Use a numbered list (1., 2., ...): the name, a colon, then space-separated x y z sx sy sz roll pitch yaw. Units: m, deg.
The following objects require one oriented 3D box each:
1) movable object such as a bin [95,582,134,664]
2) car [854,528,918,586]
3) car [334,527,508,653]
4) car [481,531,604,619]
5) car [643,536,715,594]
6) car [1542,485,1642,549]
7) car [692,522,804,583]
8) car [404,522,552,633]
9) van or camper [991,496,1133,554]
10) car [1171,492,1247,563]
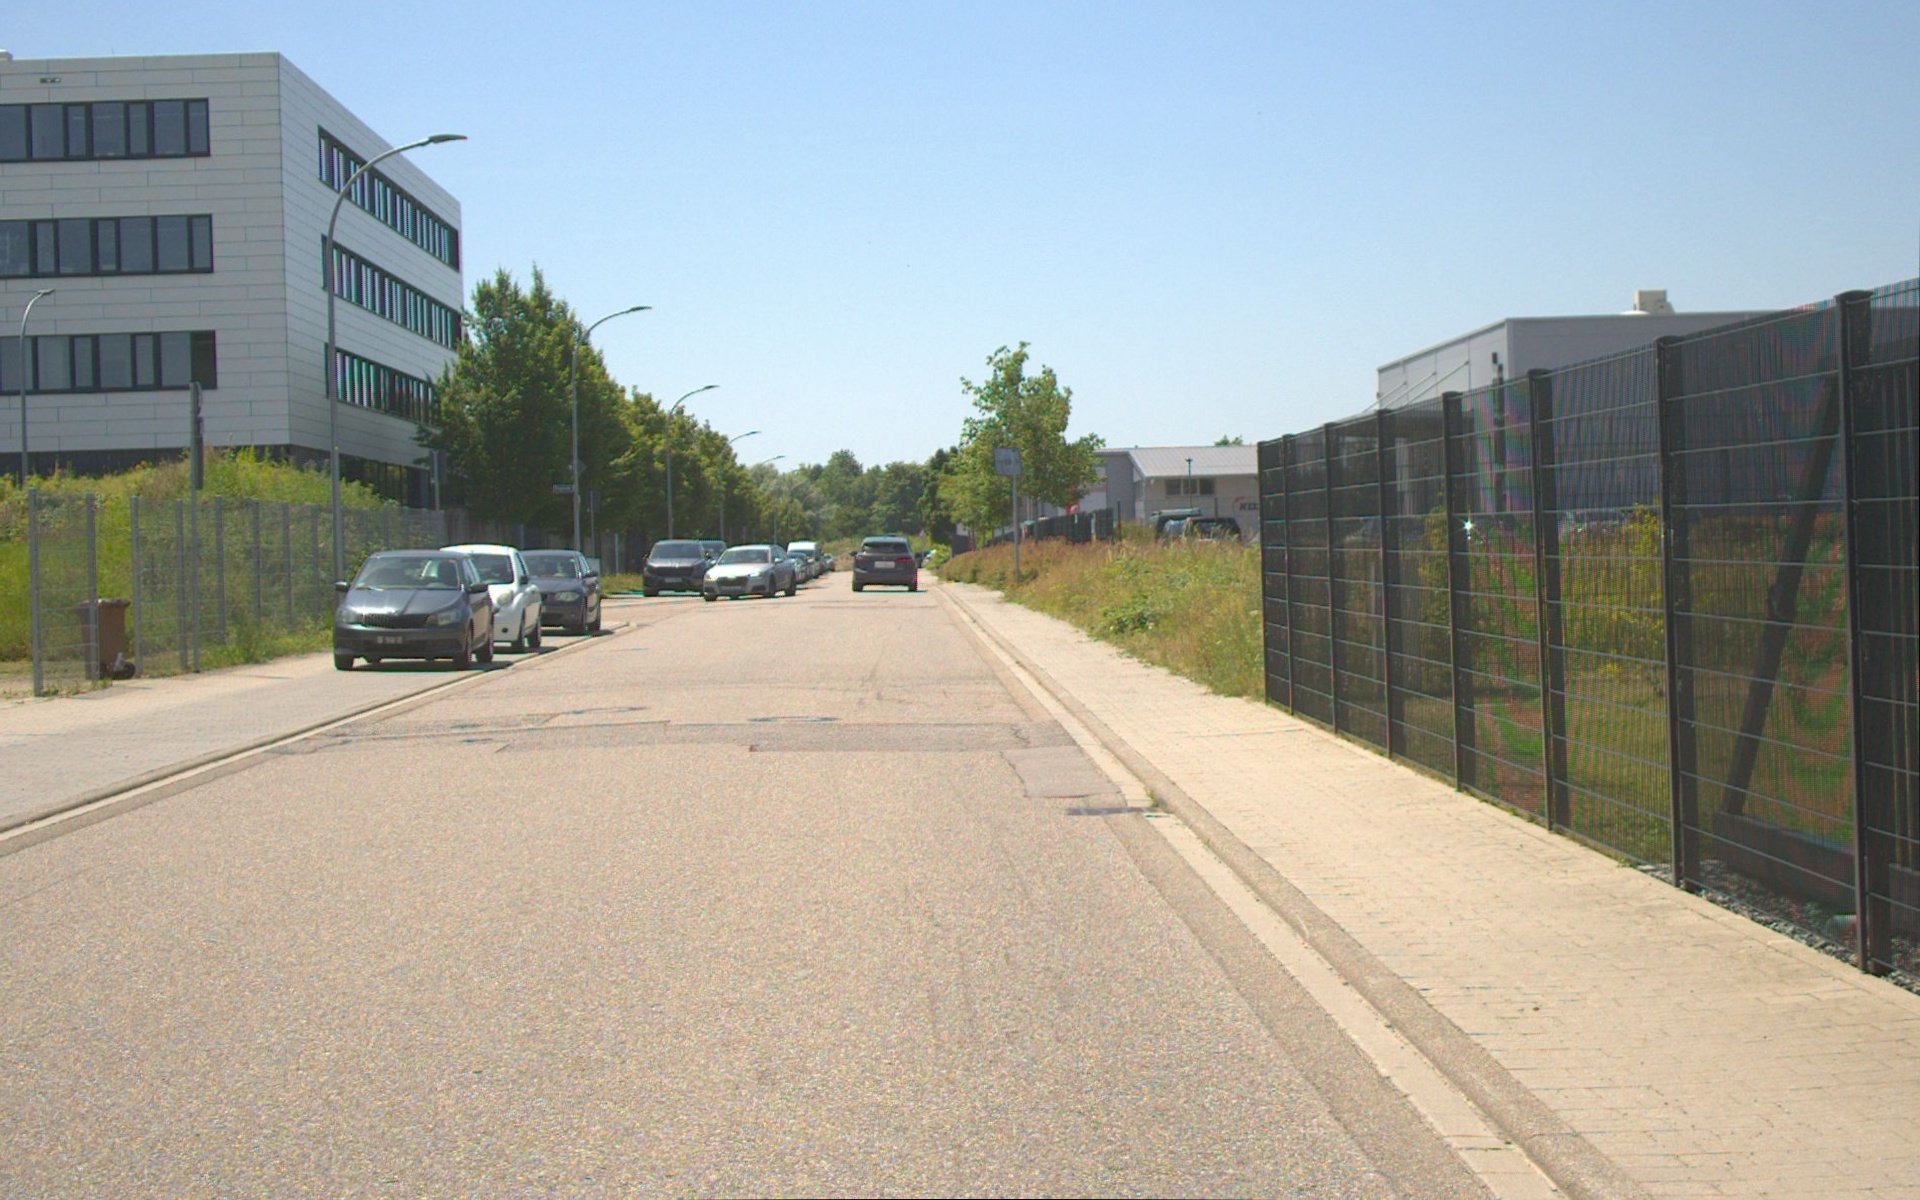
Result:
1. movable object such as a bin: -9.849 0.269 40.073 0.304 0.937 0.496 -1 1 1
2. car: -2.131 -1.225 98.840 1.789 1.618 3.809 1 1 -1
3. car: -6.821 -0.146 43.827 1.674 1.525 3.910 -1 1 -1
4. car: -7.142 -0.438 59.098 1.674 1.445 4.069 -1 1 -1
5. car: -8.027 -1.018 98.423 1.771 1.582 4.481 -1 1 -1
6. car: 14.734 -1.927 80.255 1.514 1.392 3.541 -2 1 -2
7. car: -5.664 -1.282 92.321 1.772 1.582 4.073 -1 1 15
8. car: -6.983 -0.336 50.090 1.674 1.525 3.758 -1 1 -1
9. van or camper: 4.994 -3.694 169.538 6.756 2.576 2.636 -2 1 -2
10. car: 5.735 -1.667 79.409 1.466 1.568 2.662 -2 1 -1
